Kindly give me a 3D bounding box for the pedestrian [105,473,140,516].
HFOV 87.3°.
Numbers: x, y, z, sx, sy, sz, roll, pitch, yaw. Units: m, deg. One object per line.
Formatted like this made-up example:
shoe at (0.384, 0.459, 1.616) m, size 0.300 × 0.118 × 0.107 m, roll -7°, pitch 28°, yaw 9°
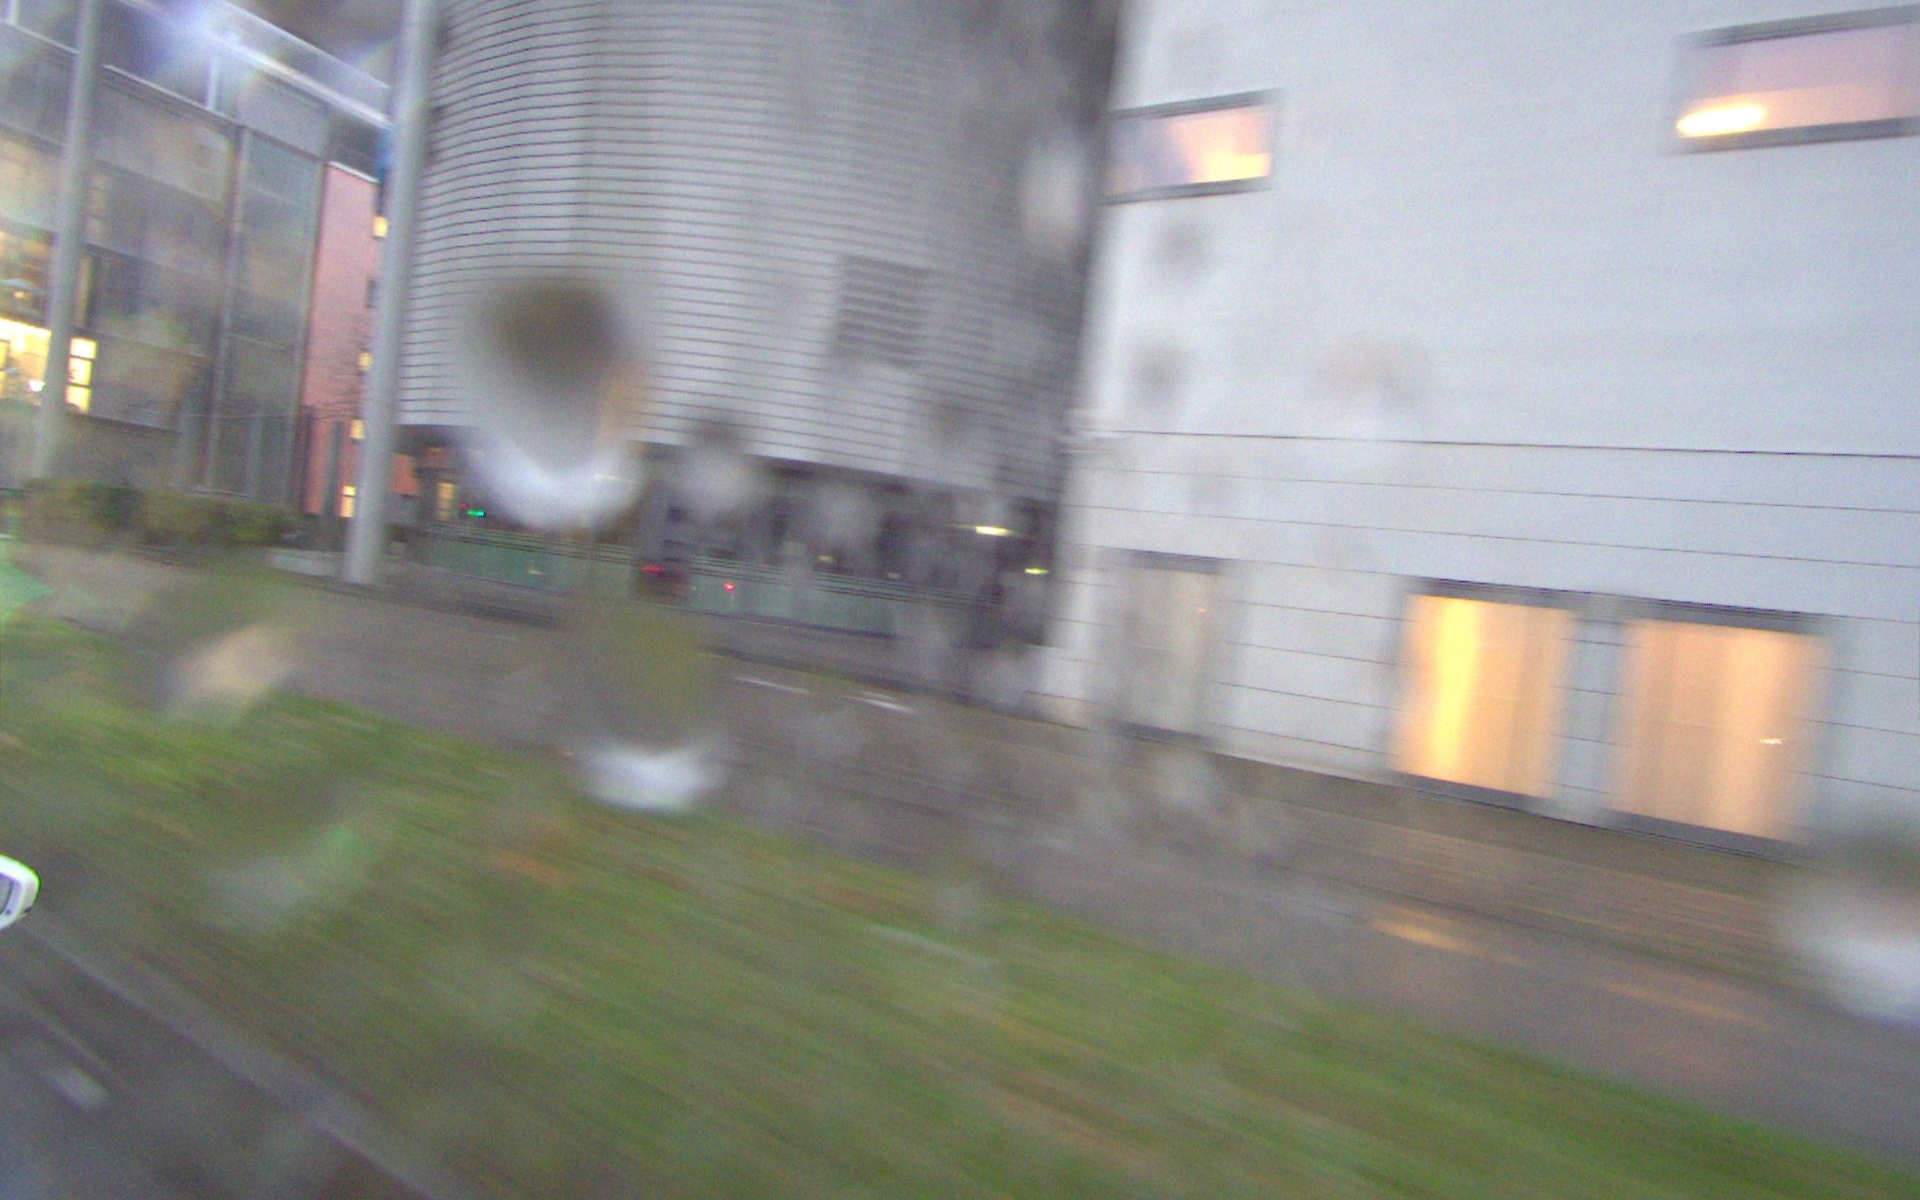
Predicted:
pedestrian at (-35.977, -4.514, 43.205) m, size 0.714 × 1.673 × 0.809 m, roll 7°, pitch -1°, yaw 31°
